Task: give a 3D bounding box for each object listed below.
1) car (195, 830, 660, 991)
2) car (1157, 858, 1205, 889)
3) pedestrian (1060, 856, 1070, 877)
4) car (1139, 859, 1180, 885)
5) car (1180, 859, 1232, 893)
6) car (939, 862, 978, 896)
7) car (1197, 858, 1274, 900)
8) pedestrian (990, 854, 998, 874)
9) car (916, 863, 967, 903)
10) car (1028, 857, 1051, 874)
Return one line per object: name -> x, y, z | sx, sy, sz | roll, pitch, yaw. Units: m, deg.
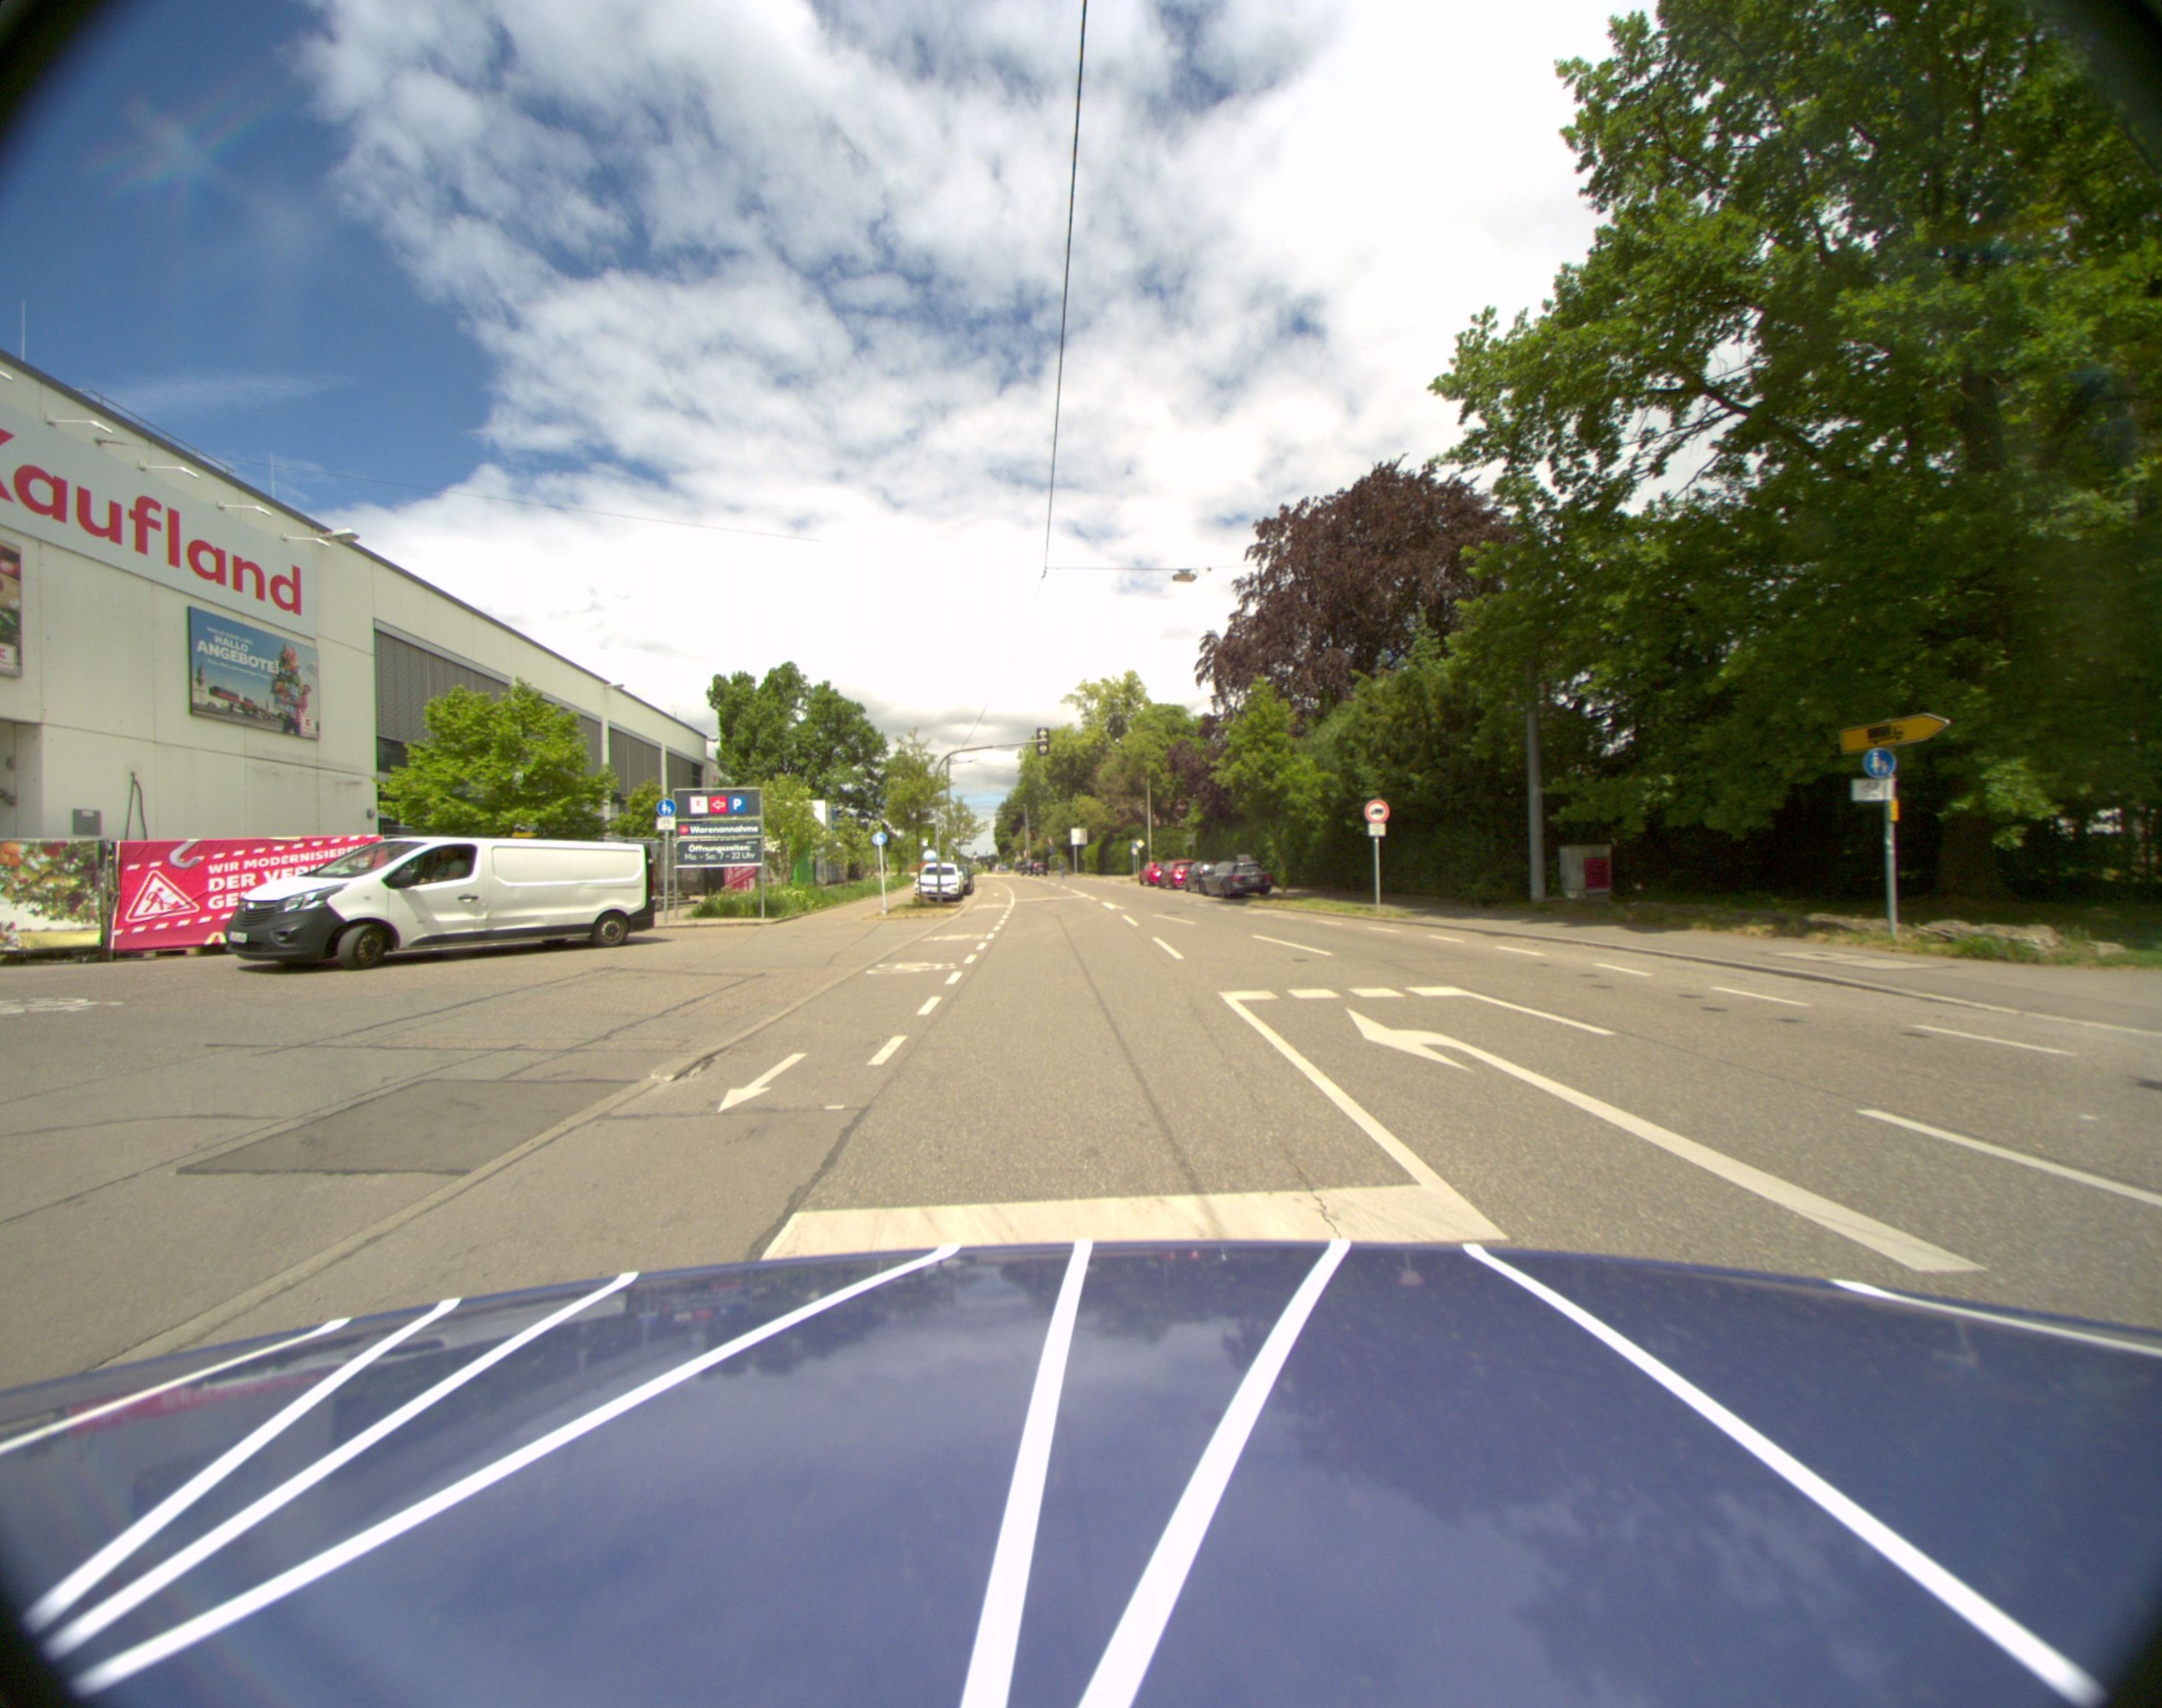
car -> -10.055, 0.736, 12.389 | 1.995, 2.011, 5.362 | 2, 0, 26
car -> 5.137, 0.987, 39.449 | 1.524, 1.469, 3.322 | -3, 0, -9
pedestrian -> -1.289, 1.022, 61.257 | 0.554, 1.663, 0.587 | -3, 0, -25
car -> 4.564, 1.043, 44.622 | 1.531, 1.358, 3.372 | -3, 1, -9
car -> 5.725, 0.991, 35.103 | 1.559, 1.404, 3.191 | -3, 1, -6
car -> -6.028, 1.184, 37.724 | 1.603, 1.552, 3.789 | 1, 0, -5
car -> 6.080, 0.946, 30.411 | 1.688, 1.407, 4.399 | -3, 1, -6
pedestrian -> -9.174, 1.036, 80.101 | 0.700, 2.002, 0.724 | -3, 1, 4
car -> -5.820, 1.170, 32.100 | 1.796, 1.522, 3.919 | 1, 0, -6
car -> -4.211, 1.121, 76.565 | 1.852, 1.546, 3.946 | -3, 0, -10
